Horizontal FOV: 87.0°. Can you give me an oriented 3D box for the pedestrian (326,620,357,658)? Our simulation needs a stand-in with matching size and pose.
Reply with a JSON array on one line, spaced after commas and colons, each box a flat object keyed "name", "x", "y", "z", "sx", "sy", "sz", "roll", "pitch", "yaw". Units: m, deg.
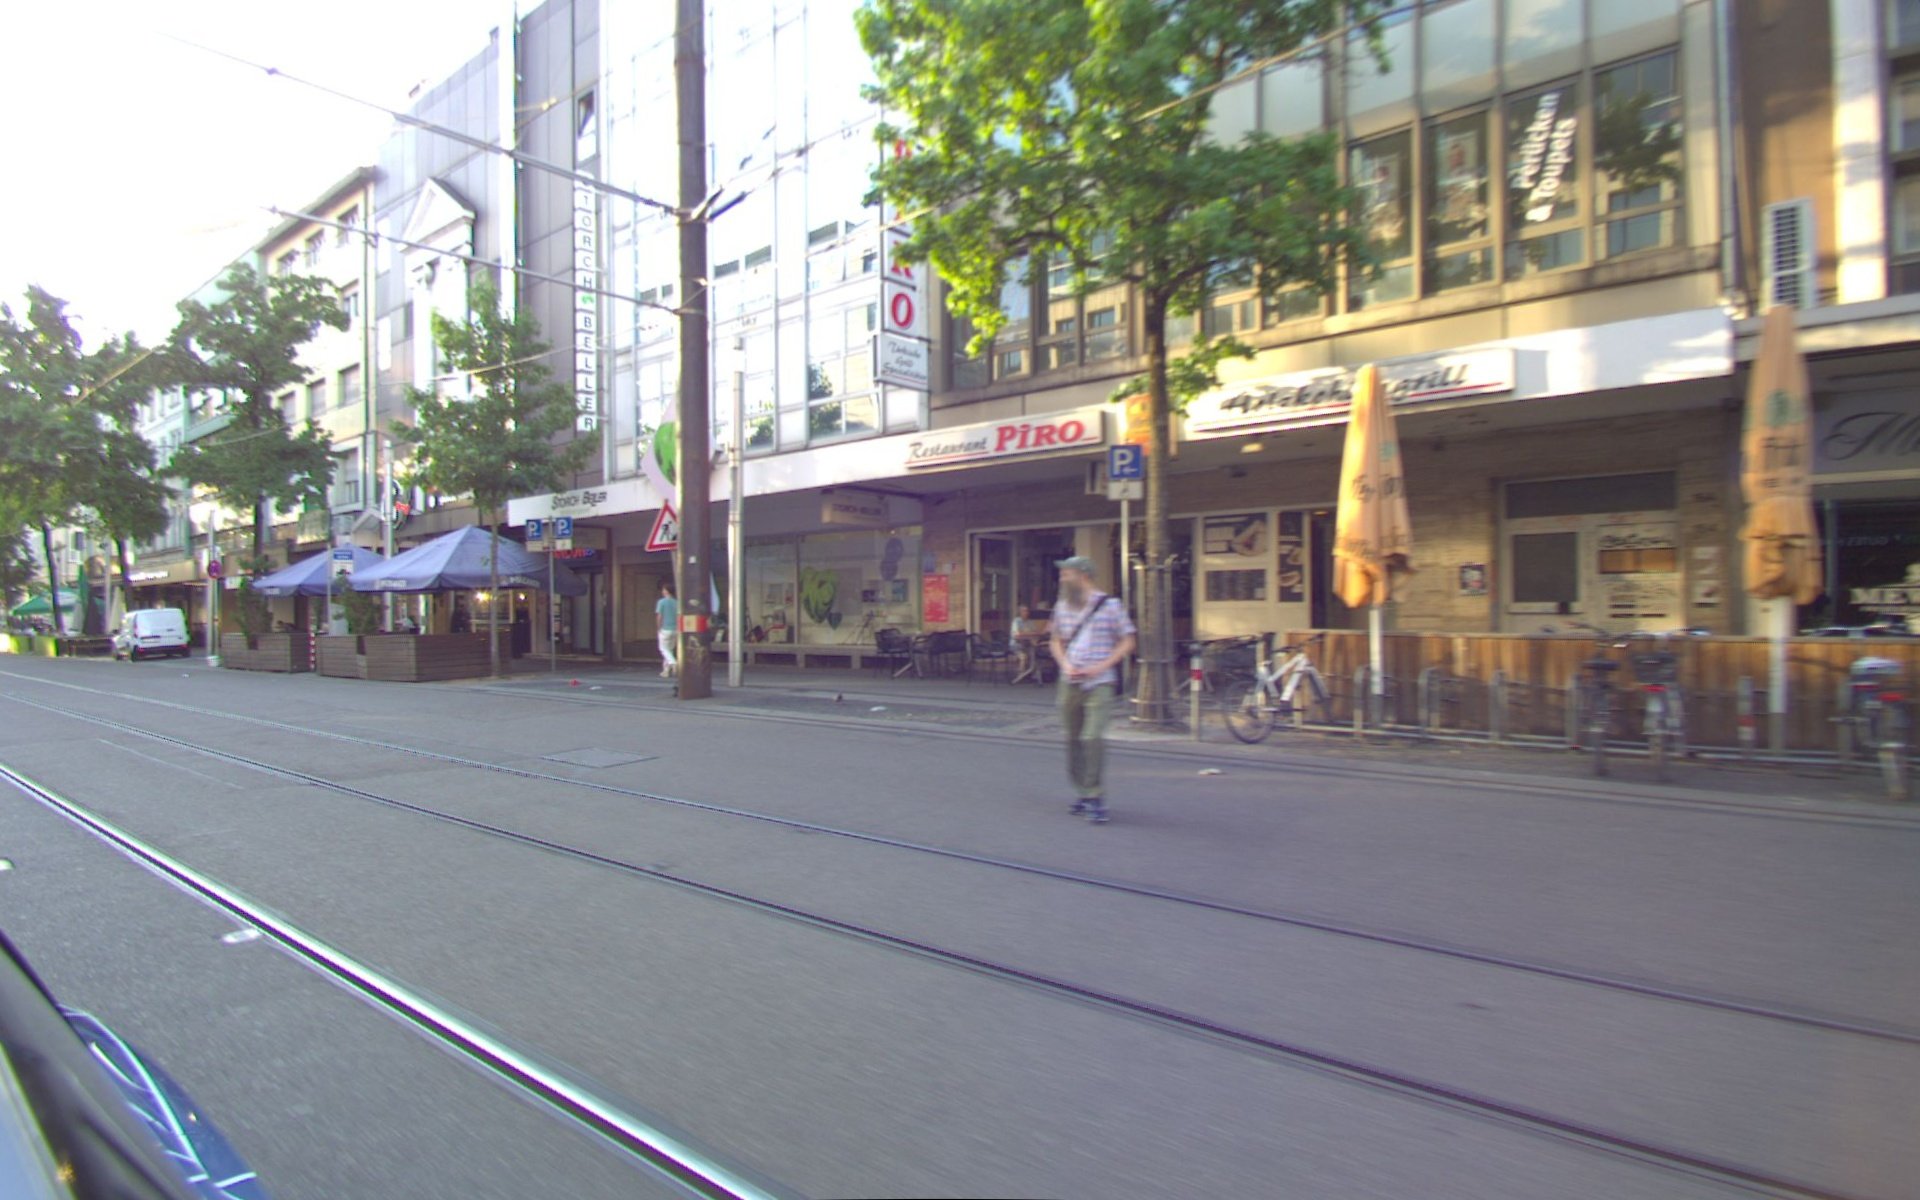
[{"name": "pedestrian", "x": -21.271, "y": 1.341, "z": 34.816, "sx": 0.665, "sy": 1.237, "sz": 0.635, "roll": -1, "pitch": 4, "yaw": 38}]

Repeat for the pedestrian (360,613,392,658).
[{"name": "pedestrian", "x": -19.783, "y": 1.204, "z": 34.291, "sx": 0.642, "sy": 1.444, "sz": 0.654, "roll": -1, "pitch": 4, "yaw": 40}]

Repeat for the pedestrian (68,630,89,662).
[{"name": "pedestrian", "x": -40.891, "y": 2.115, "z": 46.971, "sx": 0.639, "sy": 1.471, "sz": 0.652, "roll": 0, "pitch": -1, "yaw": -33}]

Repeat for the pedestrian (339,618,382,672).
[{"name": "pedestrian", "x": -16.679, "y": 1.242, "z": 28.152, "sx": 0.746, "sy": 1.411, "sz": 0.756, "roll": -1, "pitch": 2, "yaw": 39}]

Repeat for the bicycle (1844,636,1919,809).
[{"name": "bicycle", "x": 6.657, "y": 0.801, "z": 7.054, "sx": 0.488, "sy": 0.997, "sz": 1.757, "roll": -3, "pitch": 0, "yaw": 34}]

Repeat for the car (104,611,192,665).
[{"name": "car", "x": -30.428, "y": 1.399, "z": 37.900, "sx": 4.328, "sy": 1.835, "sz": 1.807, "roll": -2, "pitch": 1, "yaw": 42}]

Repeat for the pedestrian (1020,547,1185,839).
[{"name": "pedestrian", "x": 0.991, "y": 0.574, "z": 6.864, "sx": 0.817, "sy": 1.806, "sz": 0.983, "roll": -2, "pitch": 1, "yaw": 23}]

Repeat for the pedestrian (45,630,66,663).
[{"name": "pedestrian", "x": -41.510, "y": 2.124, "z": 46.466, "sx": 0.650, "sy": 1.471, "sz": 0.641, "roll": -2, "pitch": -2, "yaw": 41}]

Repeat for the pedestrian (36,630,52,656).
[{"name": "pedestrian", "x": -49.482, "y": 2.304, "z": 54.649, "sx": 0.640, "sy": 1.396, "sz": 0.651, "roll": 0, "pitch": -2, "yaw": -43}]

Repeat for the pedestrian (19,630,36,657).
[{"name": "pedestrian", "x": -49.935, "y": 2.311, "z": 54.192, "sx": 0.640, "sy": 1.396, "sz": 0.651, "roll": 0, "pitch": -2, "yaw": -43}]

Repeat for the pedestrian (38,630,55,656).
[{"name": "pedestrian", "x": -48.585, "y": 2.288, "z": 53.837, "sx": 0.640, "sy": 1.396, "sz": 0.651, "roll": 0, "pitch": -2, "yaw": -43}]

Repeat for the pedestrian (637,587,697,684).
[{"name": "pedestrian", "x": -5.701, "y": 0.670, "z": 19.696, "sx": 0.676, "sy": 1.806, "sz": 0.991, "roll": -3, "pitch": 2, "yaw": -44}]

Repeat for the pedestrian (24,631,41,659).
[{"name": "pedestrian", "x": -46.310, "y": 2.246, "z": 50.526, "sx": 0.640, "sy": 1.396, "sz": 0.651, "roll": 0, "pitch": -2, "yaw": -43}]

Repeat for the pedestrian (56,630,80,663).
[{"name": "pedestrian", "x": -40.612, "y": 2.109, "z": 46.077, "sx": 0.639, "sy": 1.471, "sz": 0.652, "roll": 0, "pitch": -1, "yaw": -20}]

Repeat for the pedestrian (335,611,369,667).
[{"name": "pedestrian", "x": -17.722, "y": 1.124, "z": 29.490, "sx": 0.564, "sy": 1.564, "sz": 0.650, "roll": -1, "pitch": 2, "yaw": 38}]

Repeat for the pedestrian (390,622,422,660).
[{"name": "pedestrian", "x": -17.918, "y": 1.316, "z": 32.734, "sx": 0.665, "sy": 1.165, "sz": 0.635, "roll": -1, "pitch": 2, "yaw": 38}]

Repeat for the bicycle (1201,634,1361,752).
[{"name": "bicycle", "x": 3.176, "y": 0.875, "z": 9.936, "sx": 1.748, "sy": 0.973, "sz": 0.491, "roll": -2, "pitch": 1, "yaw": -34}]

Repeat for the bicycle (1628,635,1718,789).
[{"name": "bicycle", "x": 5.584, "y": 0.820, "z": 7.969, "sx": 0.488, "sy": 0.997, "sz": 1.757, "roll": -3, "pitch": 0, "yaw": 34}]

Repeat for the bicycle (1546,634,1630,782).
[{"name": "bicycle", "x": 5.175, "y": 0.827, "z": 8.303, "sx": 0.488, "sy": 0.997, "sz": 1.757, "roll": -3, "pitch": 0, "yaw": 34}]

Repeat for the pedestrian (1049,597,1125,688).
[{"name": "pedestrian", "x": 1.962, "y": 0.646, "z": 15.647, "sx": 0.911, "sy": 1.335, "sz": 0.664, "roll": -1, "pitch": 1, "yaw": 39}]

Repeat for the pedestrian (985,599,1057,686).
[{"name": "pedestrian", "x": 0.984, "y": 0.666, "z": 16.339, "sx": 0.911, "sy": 1.335, "sz": 0.664, "roll": -1, "pitch": 1, "yaw": 39}]

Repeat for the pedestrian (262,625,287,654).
[{"name": "pedestrian", "x": -28.218, "y": 1.624, "z": 41.661, "sx": 0.648, "sy": 1.184, "sz": 0.642, "roll": -1, "pitch": 0, "yaw": 35}]
